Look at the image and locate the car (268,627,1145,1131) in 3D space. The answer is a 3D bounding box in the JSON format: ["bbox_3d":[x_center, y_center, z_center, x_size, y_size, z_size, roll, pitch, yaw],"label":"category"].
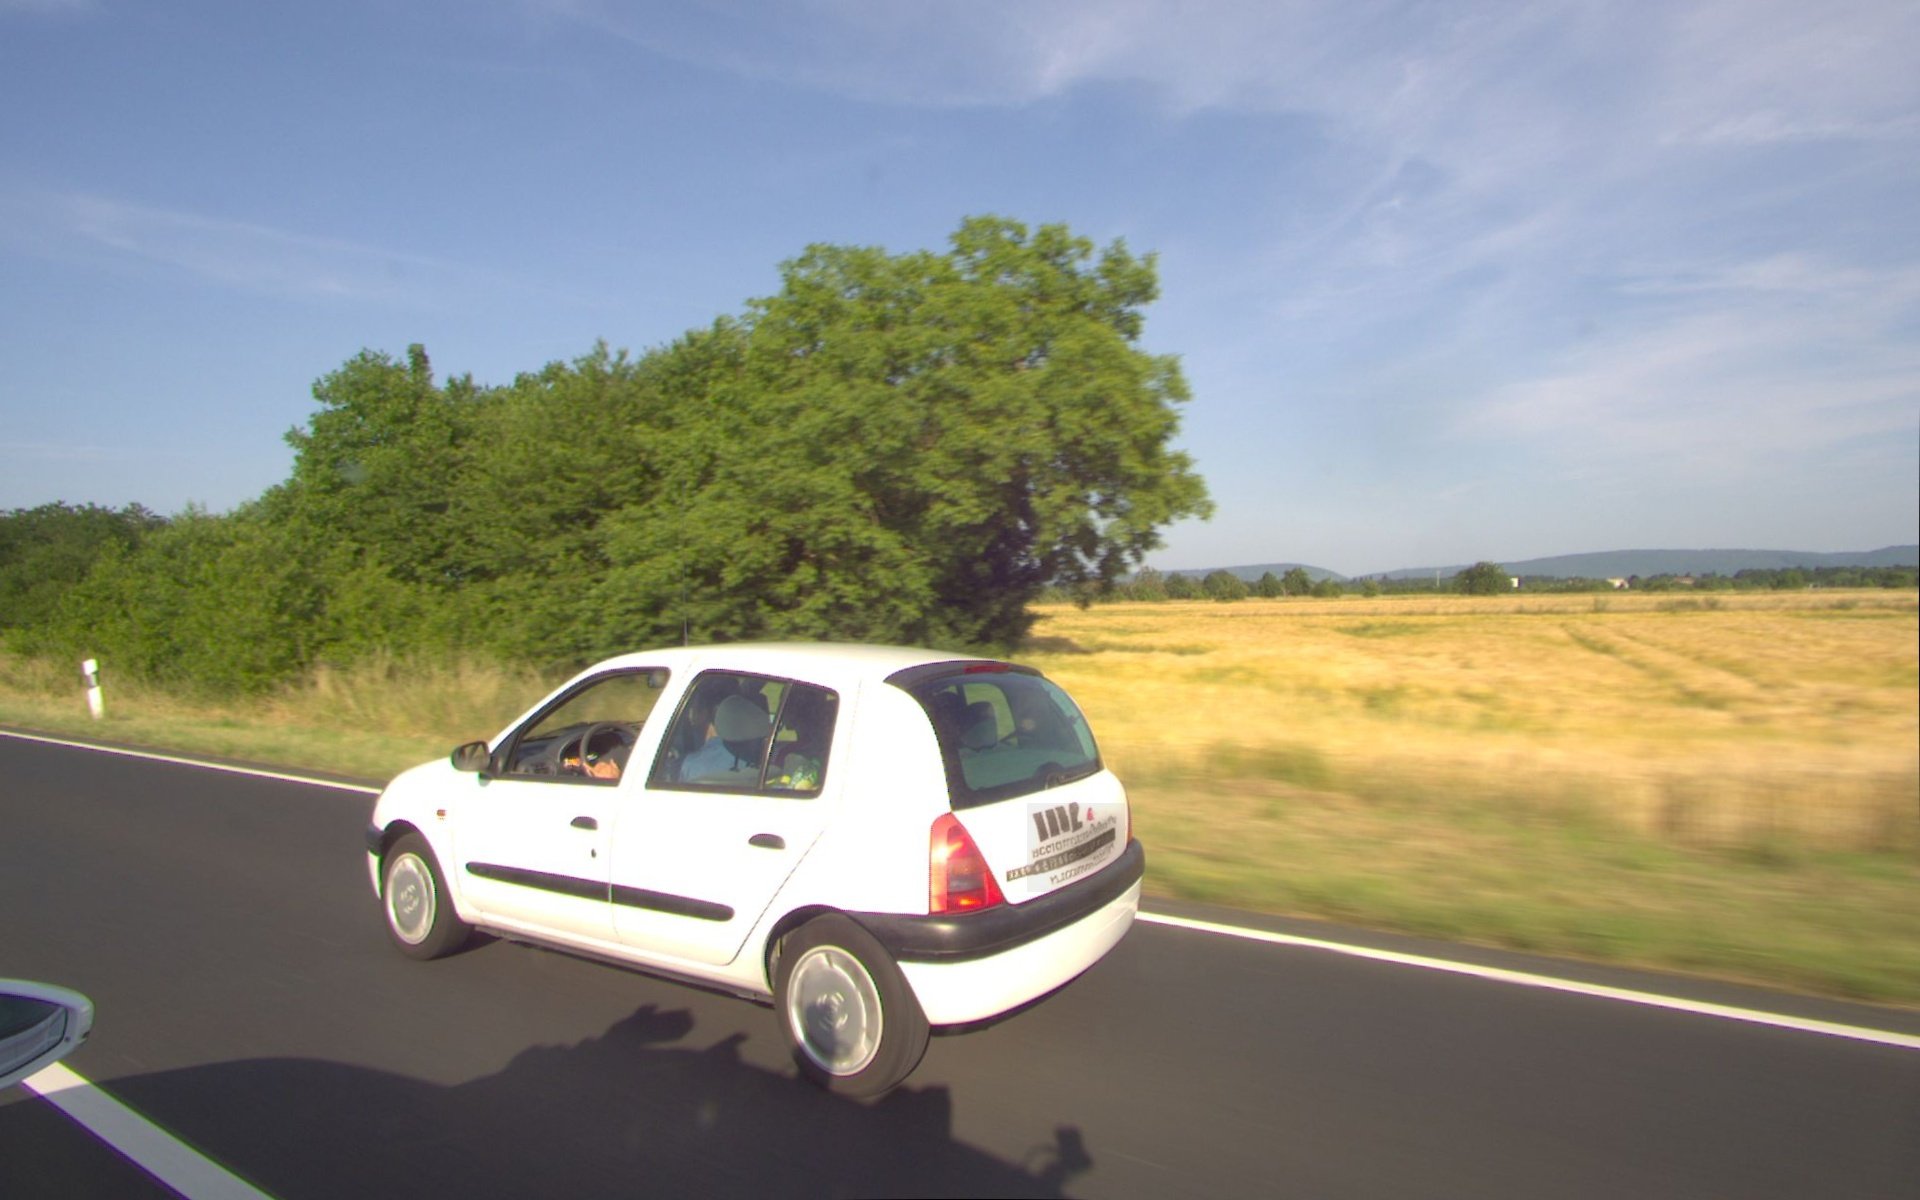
[{"bbox_3d":[-1.297,0.848,4.547,3.894,1.405,1.614,-1,-1,32],"label":"car"}]
